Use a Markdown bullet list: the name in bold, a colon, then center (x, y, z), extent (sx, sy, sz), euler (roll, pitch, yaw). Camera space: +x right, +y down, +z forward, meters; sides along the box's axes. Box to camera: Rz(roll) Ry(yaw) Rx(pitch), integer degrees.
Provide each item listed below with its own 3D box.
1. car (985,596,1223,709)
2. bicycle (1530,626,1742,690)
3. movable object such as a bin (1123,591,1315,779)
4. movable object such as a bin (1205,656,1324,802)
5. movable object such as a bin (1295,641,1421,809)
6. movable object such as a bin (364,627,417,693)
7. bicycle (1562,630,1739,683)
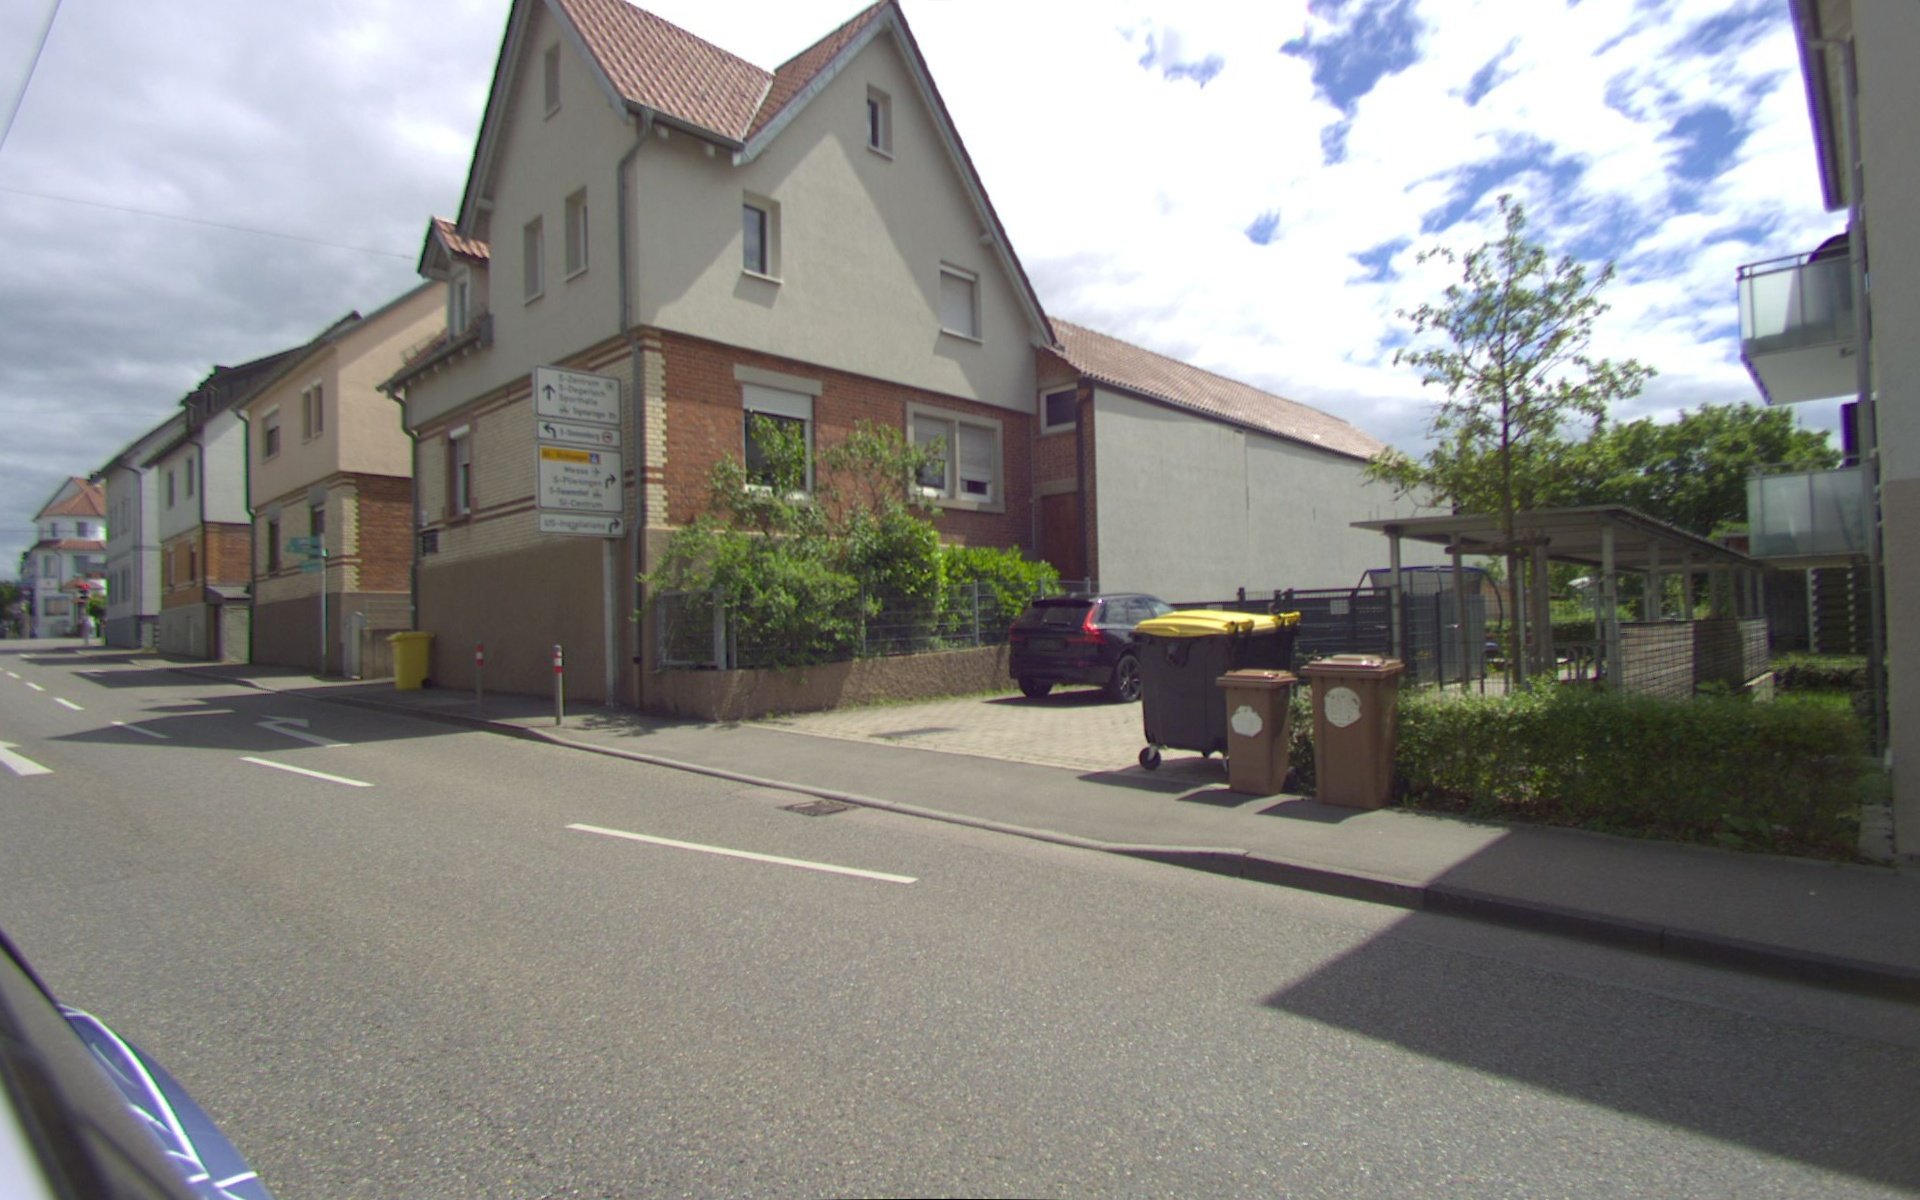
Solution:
- **car**: center (2.422, 0.749, 16.331), extent (2.000, 1.586, 3.945), euler (-1, -1, 41)
- **bicycle**: center (10.256, 0.899, 15.453), extent (2.618, 0.894, 0.537), euler (-4, -2, 39)
- **movable object such as a bin**: center (2.251, 0.675, 8.743), extent (1.169, 1.457, 1.321), euler (-1, -1, 38)
- **movable object such as a bin**: center (2.312, 0.949, 7.691), extent (0.657, 1.008, 0.634), euler (-1, -1, 42)
- **movable object such as a bin**: center (2.803, 0.841, 7.123), extent (0.660, 1.083, 0.634), euler (-1, -1, 40)
- **movable object such as a bin**: center (-10.652, 1.101, 18.911), extent (0.755, 1.170, 0.804), euler (0, -1, -38)
- **bicycle**: center (12.639, 1.050, 18.600), extent (2.618, 0.894, 0.537), euler (-4, -2, 39)
